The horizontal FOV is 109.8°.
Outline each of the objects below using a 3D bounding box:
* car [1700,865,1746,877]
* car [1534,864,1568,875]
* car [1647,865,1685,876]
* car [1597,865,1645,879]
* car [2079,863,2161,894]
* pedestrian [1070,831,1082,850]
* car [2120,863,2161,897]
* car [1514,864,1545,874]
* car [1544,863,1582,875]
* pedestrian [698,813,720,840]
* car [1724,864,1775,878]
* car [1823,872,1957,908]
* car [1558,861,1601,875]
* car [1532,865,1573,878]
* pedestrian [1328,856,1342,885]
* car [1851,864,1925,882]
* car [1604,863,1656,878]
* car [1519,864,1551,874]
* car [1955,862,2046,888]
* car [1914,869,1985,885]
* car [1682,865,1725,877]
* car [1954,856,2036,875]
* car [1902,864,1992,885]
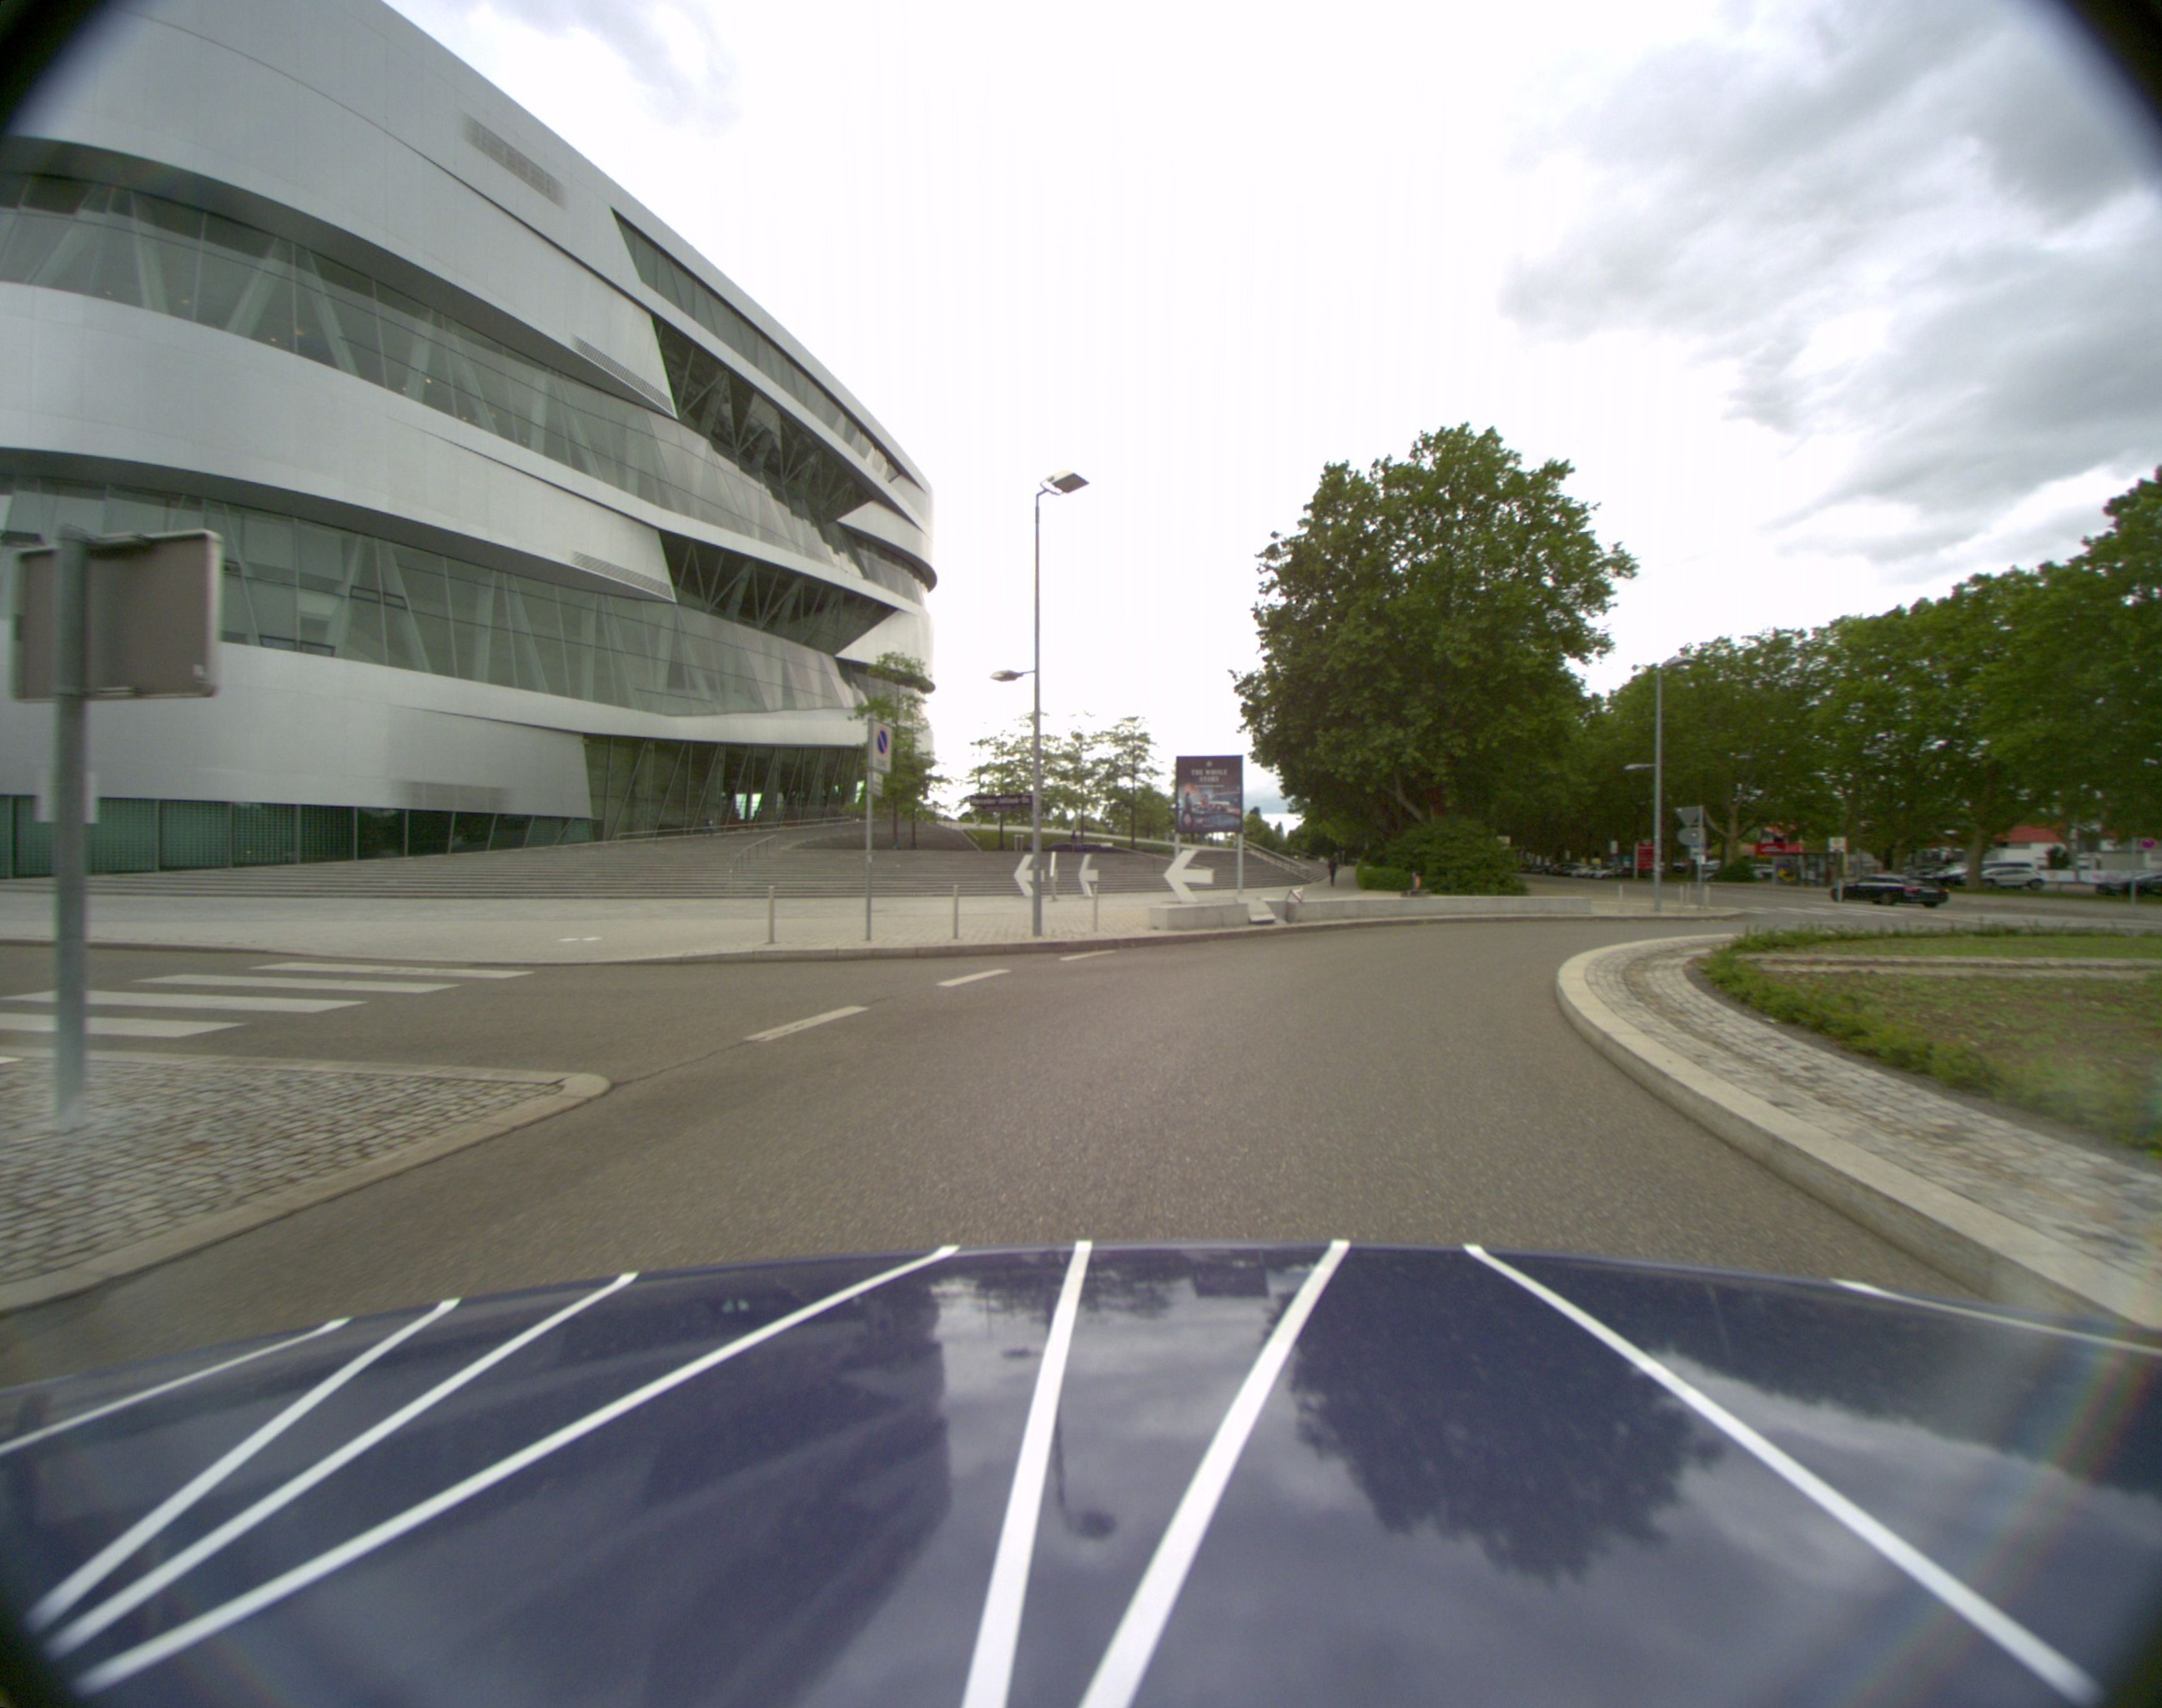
[{"bbox_3d":[78.030,2.044,92.434,3.996,1.509,1.875,0,-1,28],"label":"car"},{"bbox_3d":[67.000,2.151,108.460,3.997,1.509,1.875,0,-1,27],"label":"car"},{"bbox_3d":[84.118,2.374,109.346,3.997,1.509,1.875,0,-1,27],"label":"car"},{"bbox_3d":[58.178,1.948,81.969,3.997,1.509,1.875,0,-1,27],"label":"car"},{"bbox_3d":[59.902,1.370,42.662,4.282,1.717,2.015,0,-1,18],"label":"car"},{"bbox_3d":[-0.377,-1.000,56.338,0.791,1.379,0.682,0,0,-11],"label":"pedestrian"},{"bbox_3d":[58.390,1.353,39.575,4.802,1.717,2.015,0,-1,18],"label":"car"},{"bbox_3d":[69.483,2.299,117.687,3.997,1.509,1.875,0,-1,27],"label":"car"},{"bbox_3d":[61.931,1.974,97.724,3.997,1.509,1.875,0,-1,27],"label":"car"},{"bbox_3d":[-27.024,-2.025,55.193,0.850,1.914,0.953,0,4,23],"label":"pedestrian"},{"bbox_3d":[75.338,1.876,85.727,3.996,1.509,1.875,0,-1,28],"label":"car"},{"bbox_3d":[37.531,1.625,35.449,1.794,1.554,4.732,0,-1,10],"label":"car"},{"bbox_3d":[58.189,1.578,88.731,3.997,1.600,1.872,0,-1,27],"label":"car"},{"bbox_3d":[63.179,2.329,101.781,4.426,1.642,1.800,0,-1,22],"label":"car"},{"bbox_3d":[15.473,1.031,46.372,0.596,1.751,0.554,0,0,-25],"label":"pedestrian"},{"bbox_3d":[69.570,1.650,65.566,3.997,1.509,1.875,0,-1,27],"label":"car"},{"bbox_3d":[57.403,1.697,79.474,4.165,1.509,1.875,0,-1,27],"label":"car"},{"bbox_3d":[68.743,2.256,115.050,3.997,1.509,1.875,0,-1,27],"label":"car"},{"bbox_3d":[64.437,1.461,53.327,3.702,1.767,1.674,0,-1,26],"label":"car"},{"bbox_3d":[81.996,2.155,71.774,3.998,1.509,1.875,0,-1,18],"label":"car"},{"bbox_3d":[80.586,2.139,98.386,3.996,1.509,1.875,0,-1,28],"label":"car"},{"bbox_3d":[81.884,1.053,68.144,4.427,1.642,1.799,0,-1,17],"label":"car"},{"bbox_3d":[64.102,1.470,56.342,3.997,1.509,1.875,0,-1,26],"label":"car"}]
